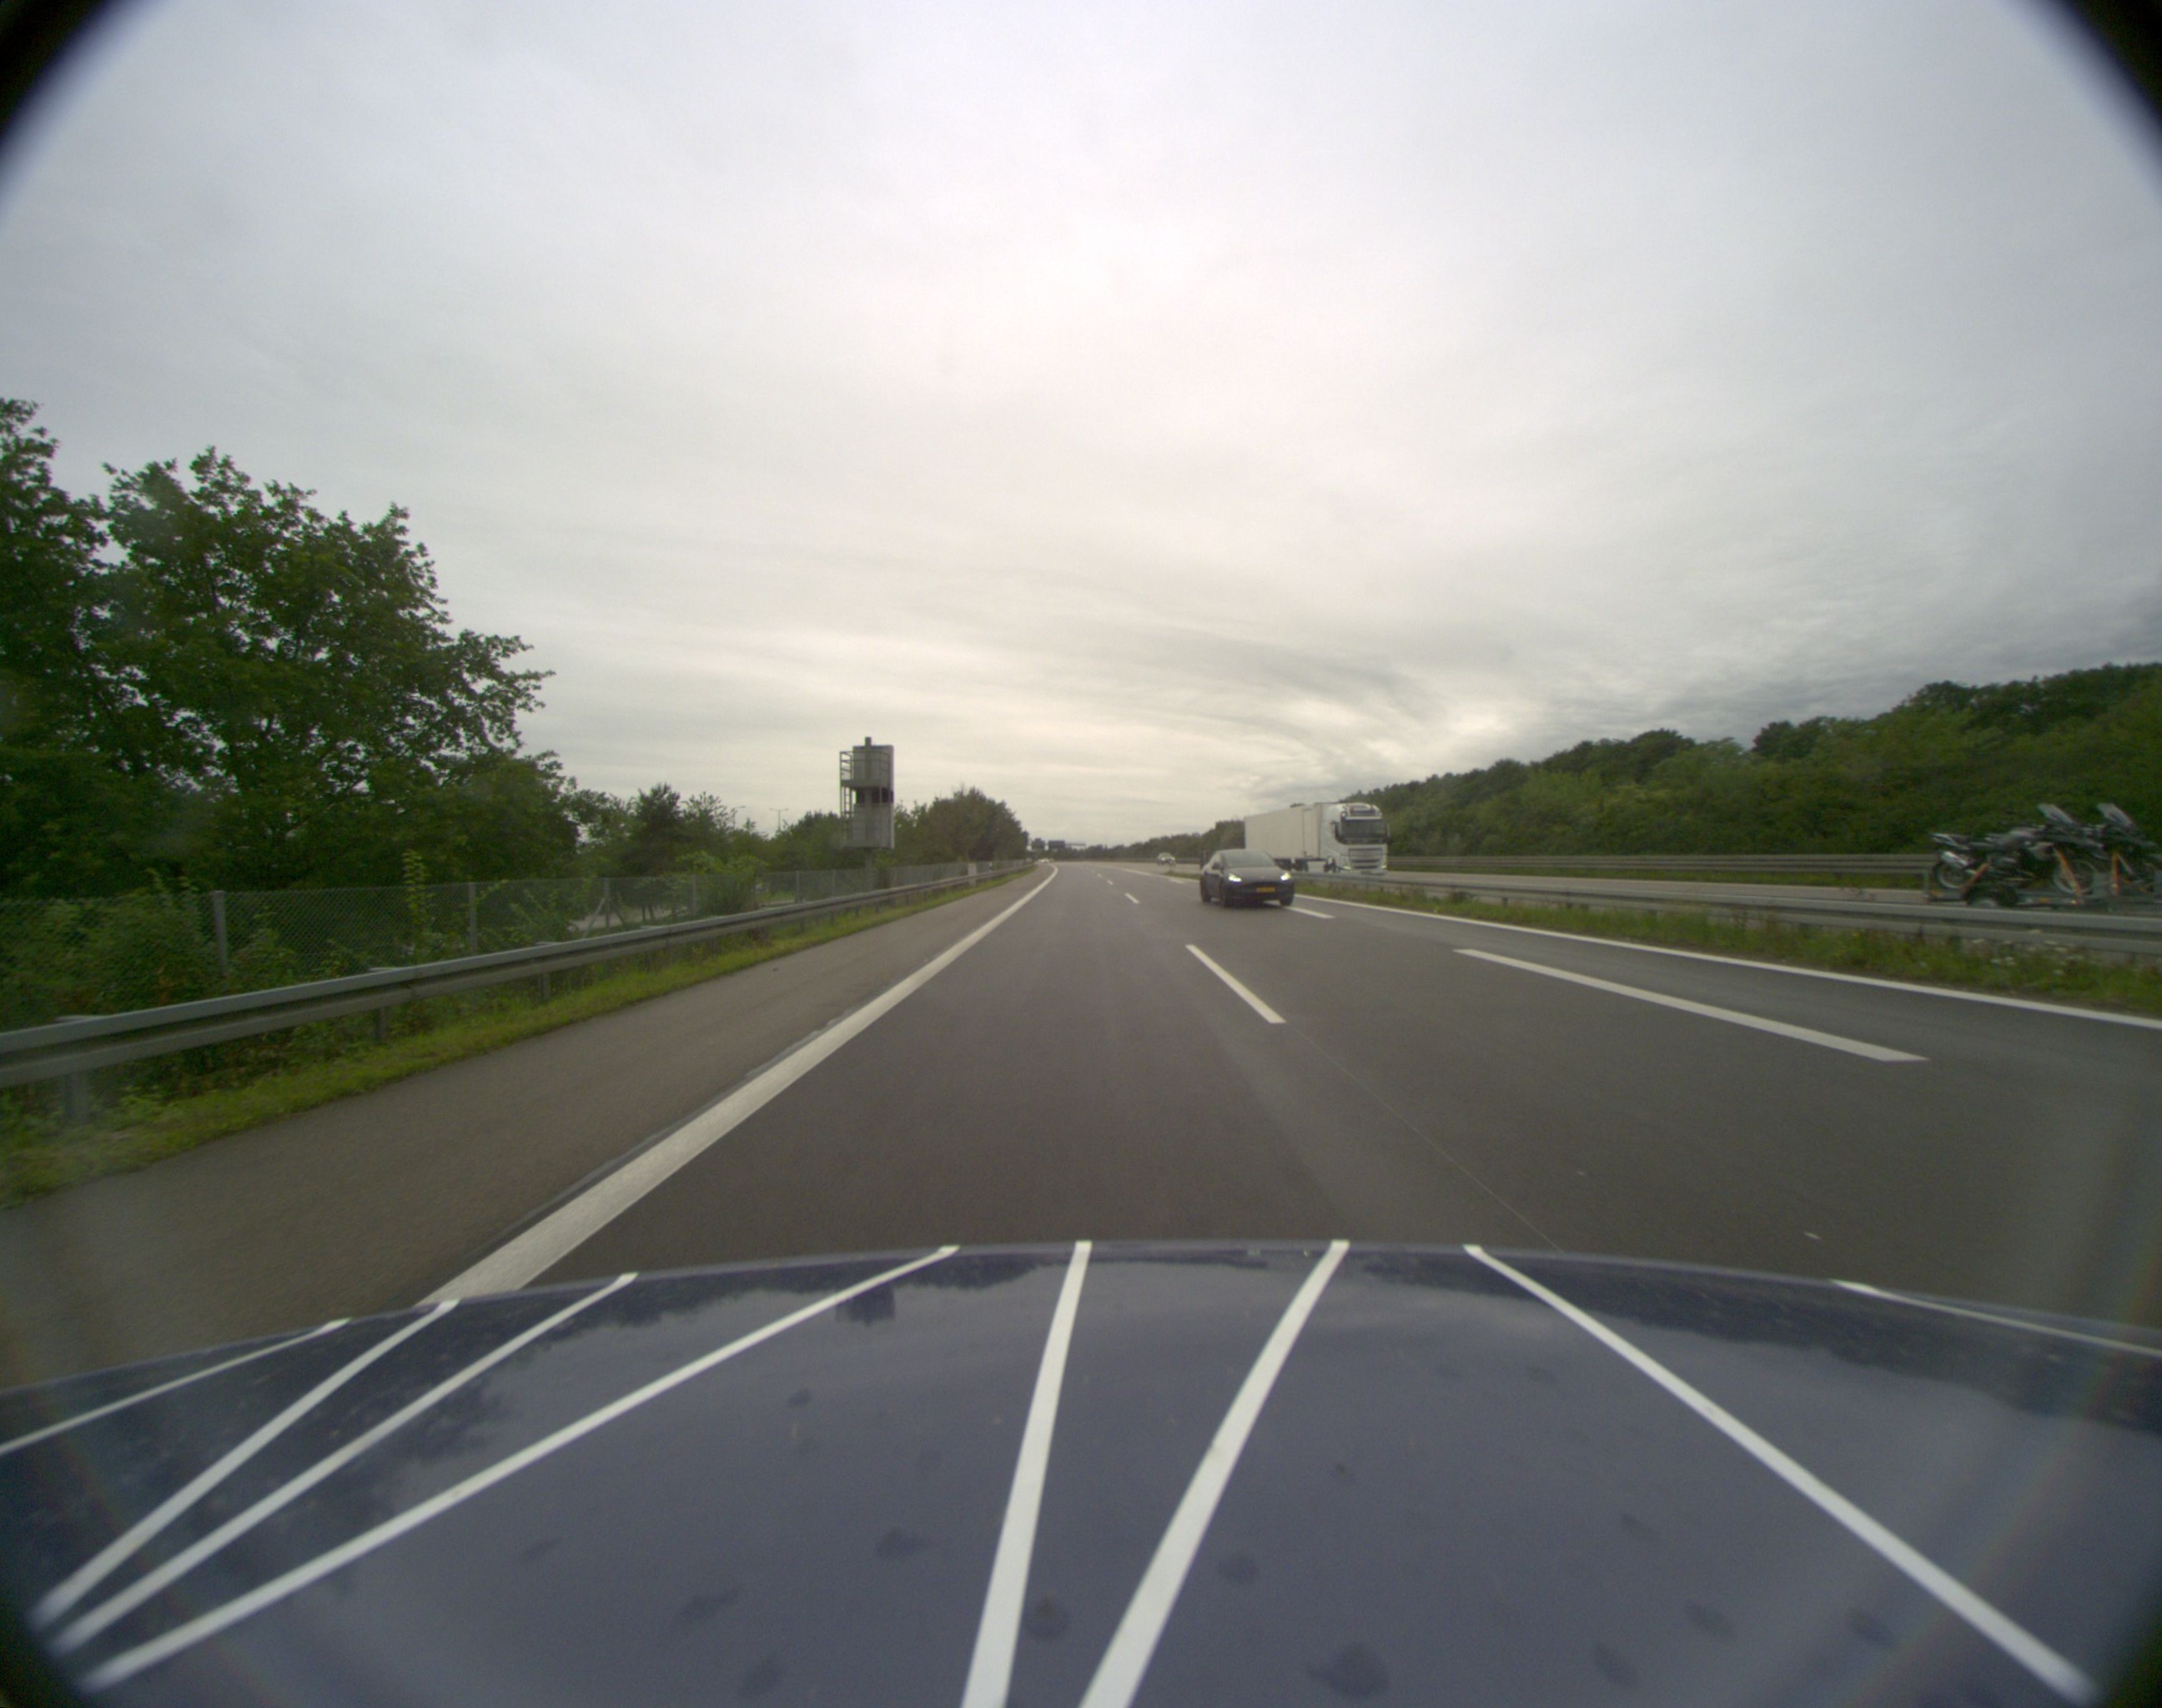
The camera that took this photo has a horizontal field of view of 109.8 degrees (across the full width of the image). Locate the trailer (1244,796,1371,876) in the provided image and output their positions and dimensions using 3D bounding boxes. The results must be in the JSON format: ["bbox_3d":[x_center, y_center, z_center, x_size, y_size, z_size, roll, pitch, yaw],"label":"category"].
[{"bbox_3d":[13.451,-0.979,47.054,2.774,4.111,13.945,-2,0,-4],"label":"trailer"}]

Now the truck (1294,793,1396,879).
[{"bbox_3d":[13.885,-0.896,40.549,2.774,4.111,6.442,-2,1,-4],"label":"truck"}]

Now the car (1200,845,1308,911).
[{"bbox_3d":[4.876,0.596,22.075,1.966,1.628,4.553,-2,1,-1],"label":"car"}]

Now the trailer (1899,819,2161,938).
[{"bbox_3d":[15.838,0.307,11.991,1.887,1.617,3.609,-2,1,-3],"label":"trailer"}]

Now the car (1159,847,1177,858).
[{"bbox_3d":[13.194,-0.218,115.305,1.904,1.641,4.484,-2,0,-3],"label":"car"}]
